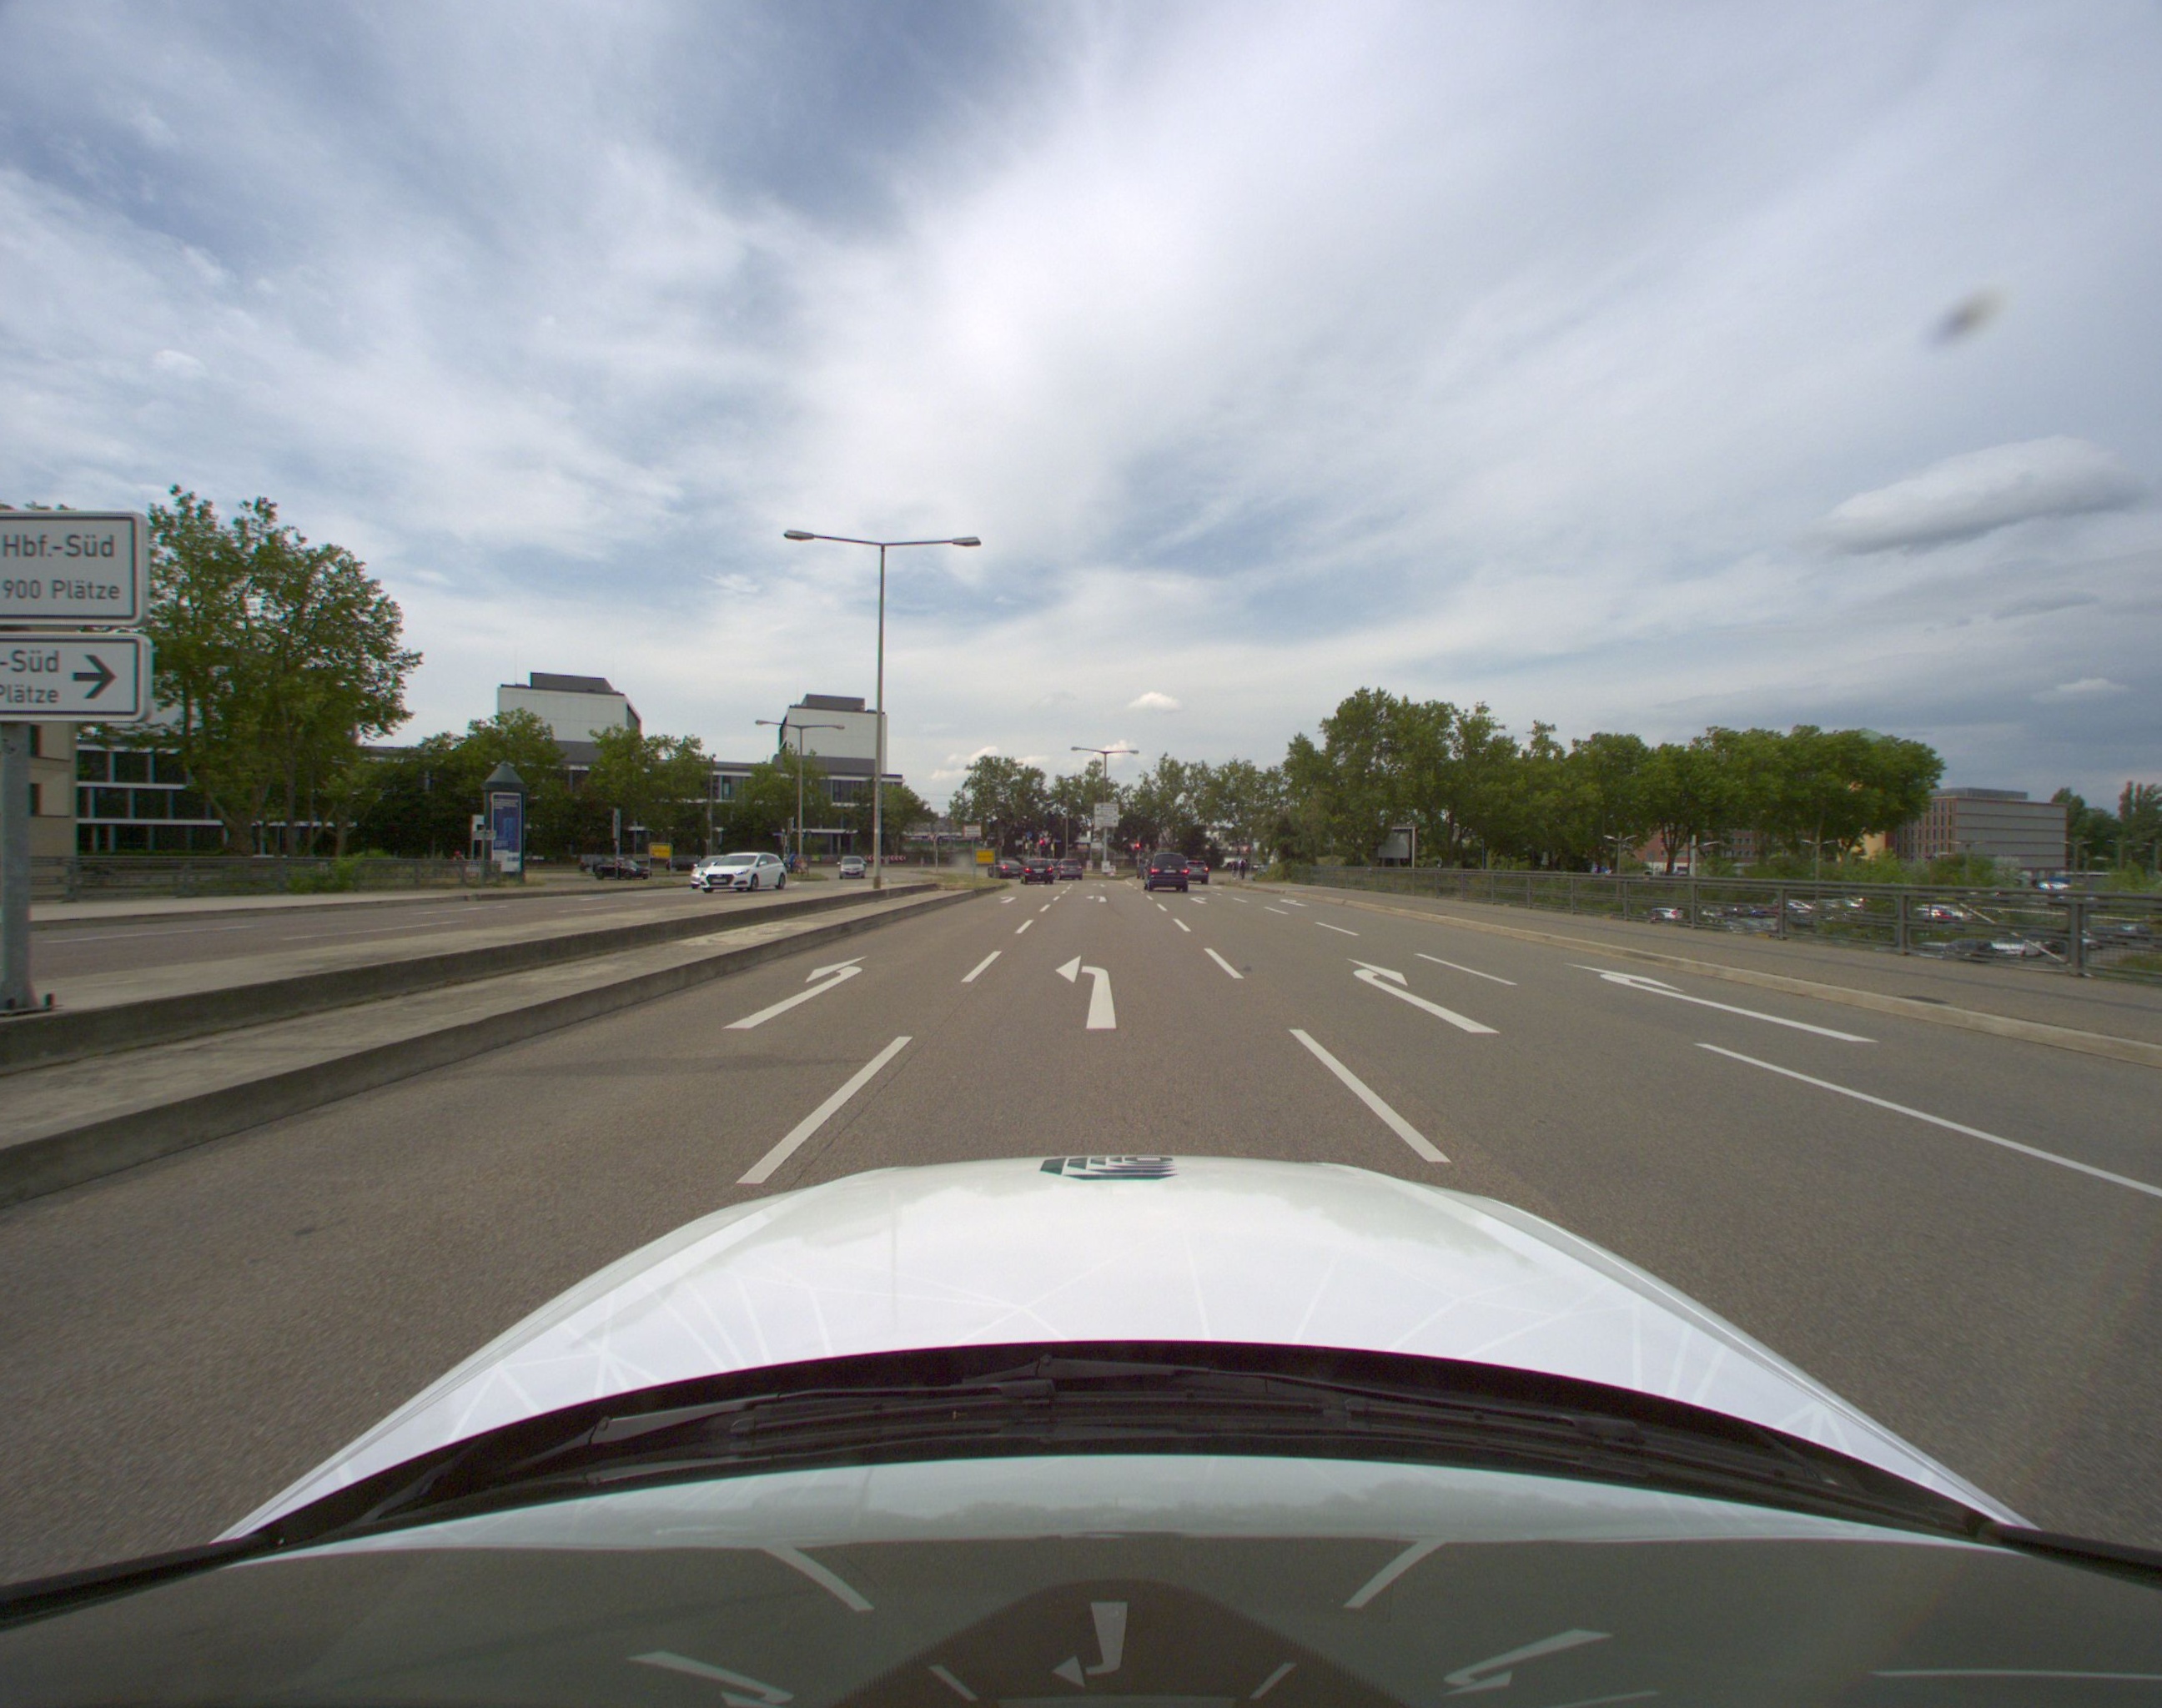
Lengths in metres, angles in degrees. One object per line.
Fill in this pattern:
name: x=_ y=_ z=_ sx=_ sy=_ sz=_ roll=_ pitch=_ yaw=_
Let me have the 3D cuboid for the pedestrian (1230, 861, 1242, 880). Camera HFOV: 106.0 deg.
pedestrian: x=14.431 y=1.531 z=75.783 sx=1.040 sy=1.710 sz=0.856 roll=1 pitch=0 yaw=12

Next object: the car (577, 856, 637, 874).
car: x=-38.703 y=0.876 z=66.628 sx=4.076 sy=1.450 sz=1.689 roll=0 pitch=-1 yaw=-24

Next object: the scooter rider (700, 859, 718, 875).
scooter rider: x=-27.561 y=0.953 z=60.388 sx=0.798 sy=1.137 sz=0.922 roll=0 pitch=0 yaw=38

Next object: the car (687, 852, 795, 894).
car: x=-12.761 y=0.670 z=30.984 sx=1.911 sy=1.415 sz=4.883 roll=-1 pitch=0 yaw=2

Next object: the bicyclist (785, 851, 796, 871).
bicyclist: x=-23.091 y=0.559 z=64.643 sx=0.783 sy=1.581 sz=0.650 roll=0 pitch=0 yaw=-23

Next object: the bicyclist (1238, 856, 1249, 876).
bicyclist: x=13.736 y=1.042 z=69.017 sx=0.804 sy=1.696 sz=1.120 roll=0 pitch=-1 yaw=17

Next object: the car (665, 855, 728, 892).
car: x=-17.441 y=0.828 z=37.117 sx=1.924 sy=1.526 sz=4.852 roll=-1 pitch=0 yaw=-18

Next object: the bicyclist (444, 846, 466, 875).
bicyclist: x=-36.681 y=0.358 z=47.716 sx=0.836 sy=1.672 sz=0.690 roll=0 pitch=-1 yaw=29

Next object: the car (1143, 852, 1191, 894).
car: x=3.858 y=0.864 z=37.016 sx=1.744 sy=1.725 sz=4.138 roll=2 pitch=-1 yaw=1

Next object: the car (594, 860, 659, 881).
car: x=-31.564 y=1.135 z=56.567 sx=3.832 sy=1.410 sz=1.756 roll=-1 pitch=-1 yaw=19

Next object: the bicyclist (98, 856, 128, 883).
bicyclist: x=-57.757 y=0.936 z=48.610 sx=0.923 sy=1.615 sz=0.735 roll=0 pitch=-1 yaw=-29

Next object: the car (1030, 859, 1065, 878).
car: x=-2.782 y=1.164 z=66.741 sx=1.747 sy=1.482 sz=4.053 roll=0 pitch=-1 yaw=-21

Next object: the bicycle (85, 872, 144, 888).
bicycle: x=-57.701 y=1.555 z=48.636 sx=2.125 sy=0.909 sz=0.735 roll=0 pitch=-1 yaw=-29

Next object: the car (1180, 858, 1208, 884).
car: x=7.727 y=1.172 z=56.013 sx=1.742 sy=1.643 sz=4.144 roll=2 pitch=-1 yaw=6

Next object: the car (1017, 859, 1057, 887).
car: x=-2.768 y=1.157 z=50.187 sx=1.759 sy=1.575 sz=4.018 roll=1 pitch=0 yaw=-13

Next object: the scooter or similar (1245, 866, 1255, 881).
scooter or similar: x=13.131 y=1.514 z=63.288 sx=0.396 sy=1.183 sz=1.278 roll=0 pitch=-1 yaw=-6

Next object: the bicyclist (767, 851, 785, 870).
bicyclist: x=-23.562 y=0.494 z=62.929 sx=0.639 sy=1.436 sz=1.124 roll=0 pitch=0 yaw=42

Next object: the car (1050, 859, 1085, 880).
car: x=-1.031 y=1.119 z=60.092 sx=1.743 sy=1.546 sz=4.063 roll=0 pitch=-1 yaw=-13

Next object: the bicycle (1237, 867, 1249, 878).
bicycle: x=13.725 y=1.549 z=68.969 sx=0.803 sy=0.952 sz=2.245 roll=0 pitch=0 yaw=16

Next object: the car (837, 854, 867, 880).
car: x=-15.745 y=0.897 z=56.151 sx=1.744 sy=1.659 sz=4.060 roll=-1 pitch=-1 yaw=-13

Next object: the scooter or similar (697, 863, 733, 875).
scooter or similar: x=-27.280 y=1.106 z=60.740 sx=0.798 sy=0.849 sz=2.401 roll=0 pitch=0 yaw=38

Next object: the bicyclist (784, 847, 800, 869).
bicyclist: x=-21.849 y=0.328 z=61.582 sx=0.801 sy=1.656 sz=0.889 roll=0 pitch=-1 yaw=34

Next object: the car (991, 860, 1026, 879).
car: x=-5.632 y=1.171 z=62.495 sx=1.822 sy=1.414 sz=4.750 roll=1 pitch=0 yaw=-16

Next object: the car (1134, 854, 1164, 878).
car: x=4.784 y=0.843 z=58.014 sx=1.685 sy=1.585 sz=4.154 roll=2 pitch=-1 yaw=-1

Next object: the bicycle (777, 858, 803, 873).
bicycle: x=-23.088 y=0.898 z=64.658 sx=1.909 sy=1.210 sz=0.638 roll=0 pitch=0 yaw=-24

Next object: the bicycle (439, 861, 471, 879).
bicycle: x=-36.659 y=0.921 z=47.689 sx=1.969 sy=1.053 sz=0.690 roll=0 pitch=-1 yaw=28

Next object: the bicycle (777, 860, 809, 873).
bicycle: x=-21.779 y=0.919 z=61.673 sx=0.801 sy=0.952 sz=2.249 roll=0 pitch=0 yaw=35
